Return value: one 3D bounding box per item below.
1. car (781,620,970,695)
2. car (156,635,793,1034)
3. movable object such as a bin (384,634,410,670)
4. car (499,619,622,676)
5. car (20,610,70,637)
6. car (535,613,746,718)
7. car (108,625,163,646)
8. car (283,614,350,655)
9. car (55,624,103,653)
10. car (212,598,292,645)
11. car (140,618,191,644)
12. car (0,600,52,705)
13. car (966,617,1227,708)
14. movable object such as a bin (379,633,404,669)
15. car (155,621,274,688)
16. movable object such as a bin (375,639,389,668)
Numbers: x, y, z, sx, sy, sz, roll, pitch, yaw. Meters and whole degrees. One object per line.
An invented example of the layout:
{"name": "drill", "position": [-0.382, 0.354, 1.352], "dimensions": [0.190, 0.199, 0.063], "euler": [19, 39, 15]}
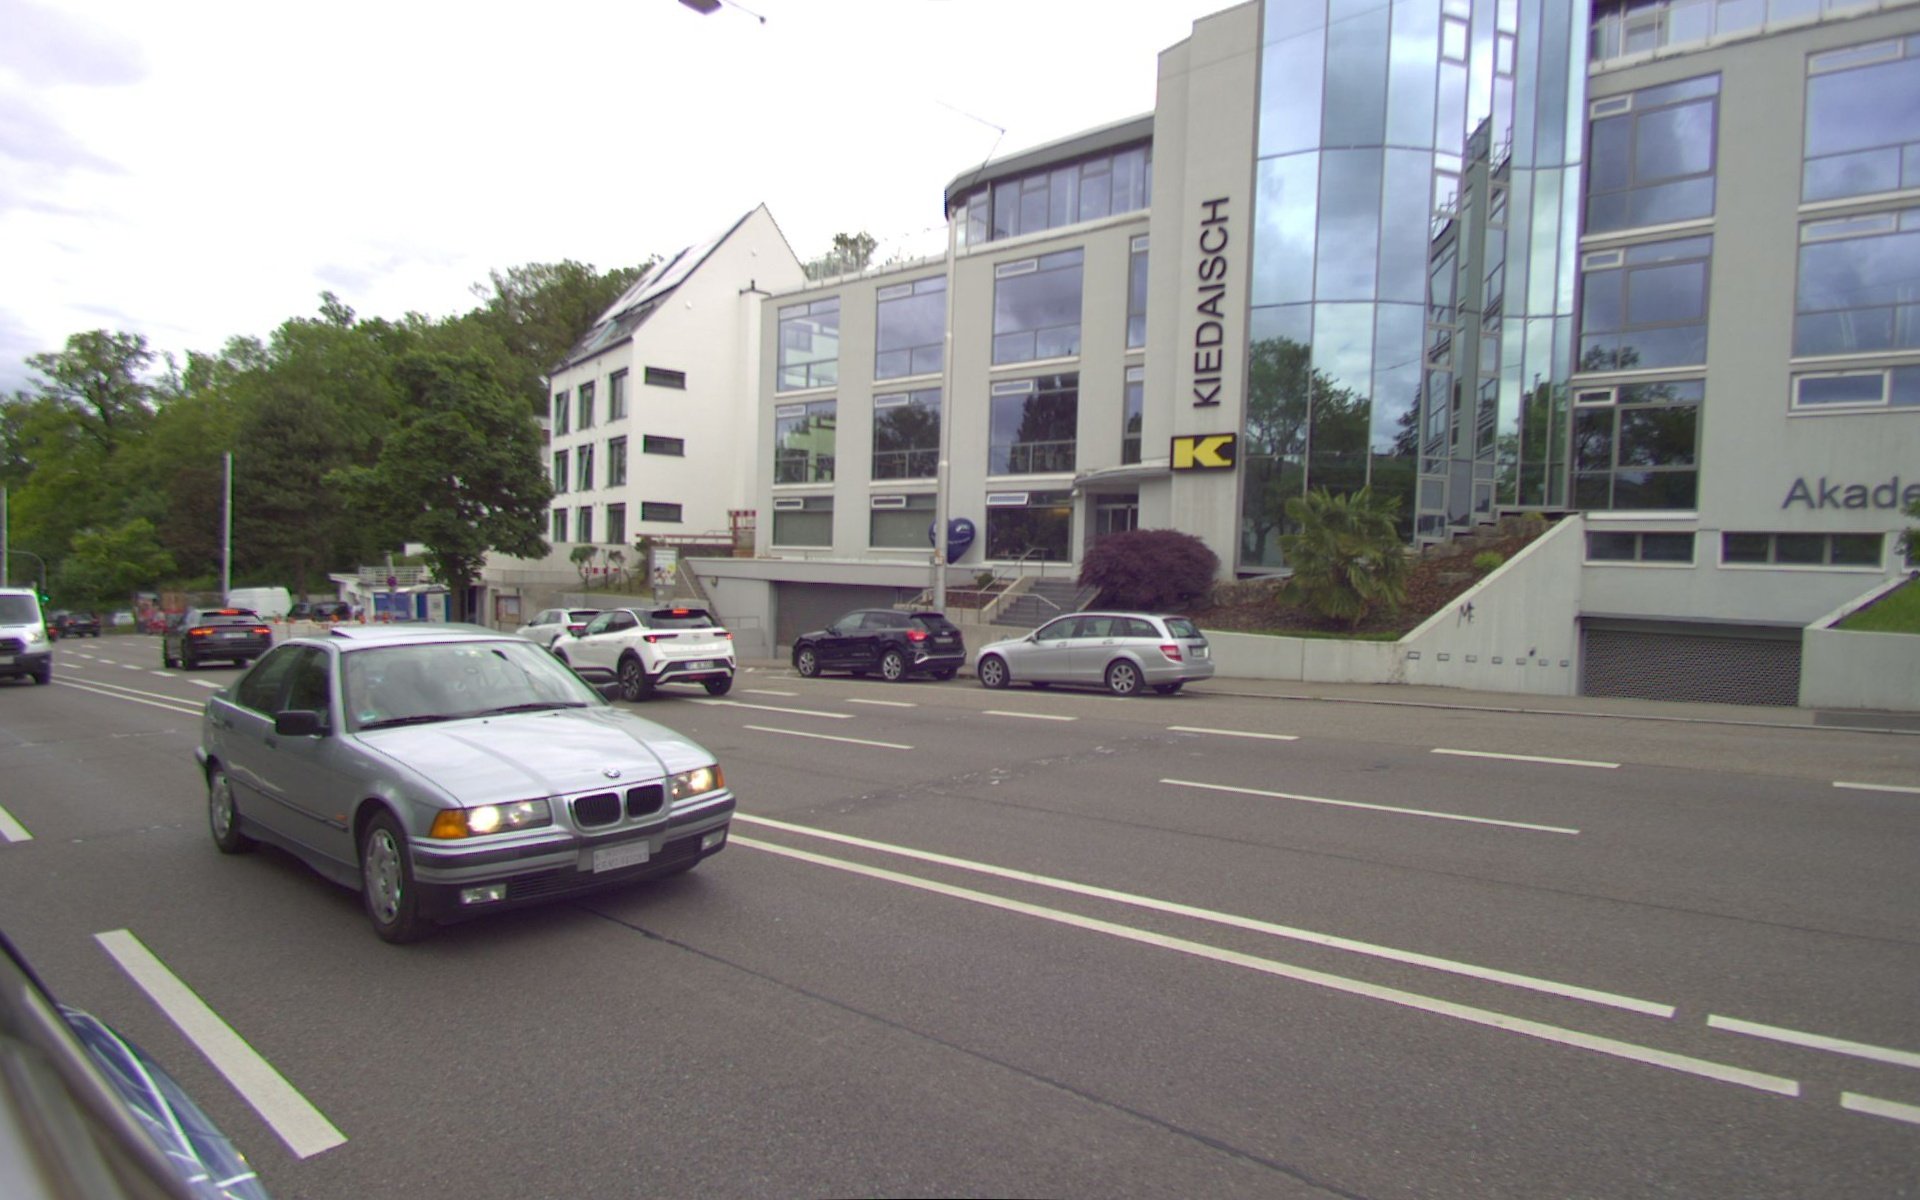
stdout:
{"name": "car", "position": [-1.872, 1.152, 21.585], "dimensions": [4.088, 1.439, 1.655], "euler": [-1, -1, 41]}
{"name": "car", "position": [-3.106, 0.944, 5.889], "dimensions": [4.617, 1.393, 1.618], "euler": [-1, 0, 41]}
{"name": "movable object such as a bin", "position": [-18.255, 1.674, 32.798], "dimensions": [0.581, 1.146, 0.646], "euler": [-1, 0, -43]}
{"name": "car", "position": [-11.600, 1.325, 29.246], "dimensions": [4.238, 1.515, 1.650], "euler": [-1, -2, 43]}
{"name": "car", "position": [-50.571, 1.282, 55.902], "dimensions": [4.323, 1.392, 1.729], "euler": [-1, 0, 44]}
{"name": "car", "position": [-5.554, 1.039, 17.358], "dimensions": [3.923, 1.553, 1.780], "euler": [-2, -1, 44]}
{"name": "car", "position": [-62.749, 2.697, 77.070], "dimensions": [1.561, 1.453, 3.295], "euler": [-1, 0, 0]}
{"name": "car", "position": [-30.458, 1.592, 47.873], "dimensions": [1.786, 1.764, 4.253], "euler": [-2, 0, -45]}
{"name": "car", "position": [-53.384, 2.314, 61.302], "dimensions": [4.226, 1.609, 1.756], "euler": [-1, 0, 44]}
{"name": "car", "position": [-41.186, 1.264, 58.805], "dimensions": [6.526, 2.545, 1.974], "euler": [-1, 0, 39]}
{"name": "car", "position": [-47.611, 1.856, 60.667], "dimensions": [3.289, 1.453, 1.564], "euler": [-1, 0, 36]}
{"name": "car", "position": [-22.580, 1.185, 23.049], "dimensions": [6.263, 2.190, 1.973], "euler": [-2, -1, 40]}
{"name": "car", "position": [2.356, 1.065, 18.127], "dimensions": [4.412, 1.439, 1.656], "euler": [-1, -3, 39]}
{"name": "movable object such as a bin", "position": [-18.681, 1.674, 33.273], "dimensions": [0.577, 1.146, 0.586], "euler": [-1, 0, -43]}
{"name": "car", "position": [-21.068, 1.456, 28.521], "dimensions": [4.763, 1.716, 1.827], "euler": [-1, -1, 43]}
{"name": "movable object such as a bin", "position": [-19.996, 1.832, 34.994], "dimensions": [0.322, 0.982, 0.426], "euler": [-1, 0, -43]}
